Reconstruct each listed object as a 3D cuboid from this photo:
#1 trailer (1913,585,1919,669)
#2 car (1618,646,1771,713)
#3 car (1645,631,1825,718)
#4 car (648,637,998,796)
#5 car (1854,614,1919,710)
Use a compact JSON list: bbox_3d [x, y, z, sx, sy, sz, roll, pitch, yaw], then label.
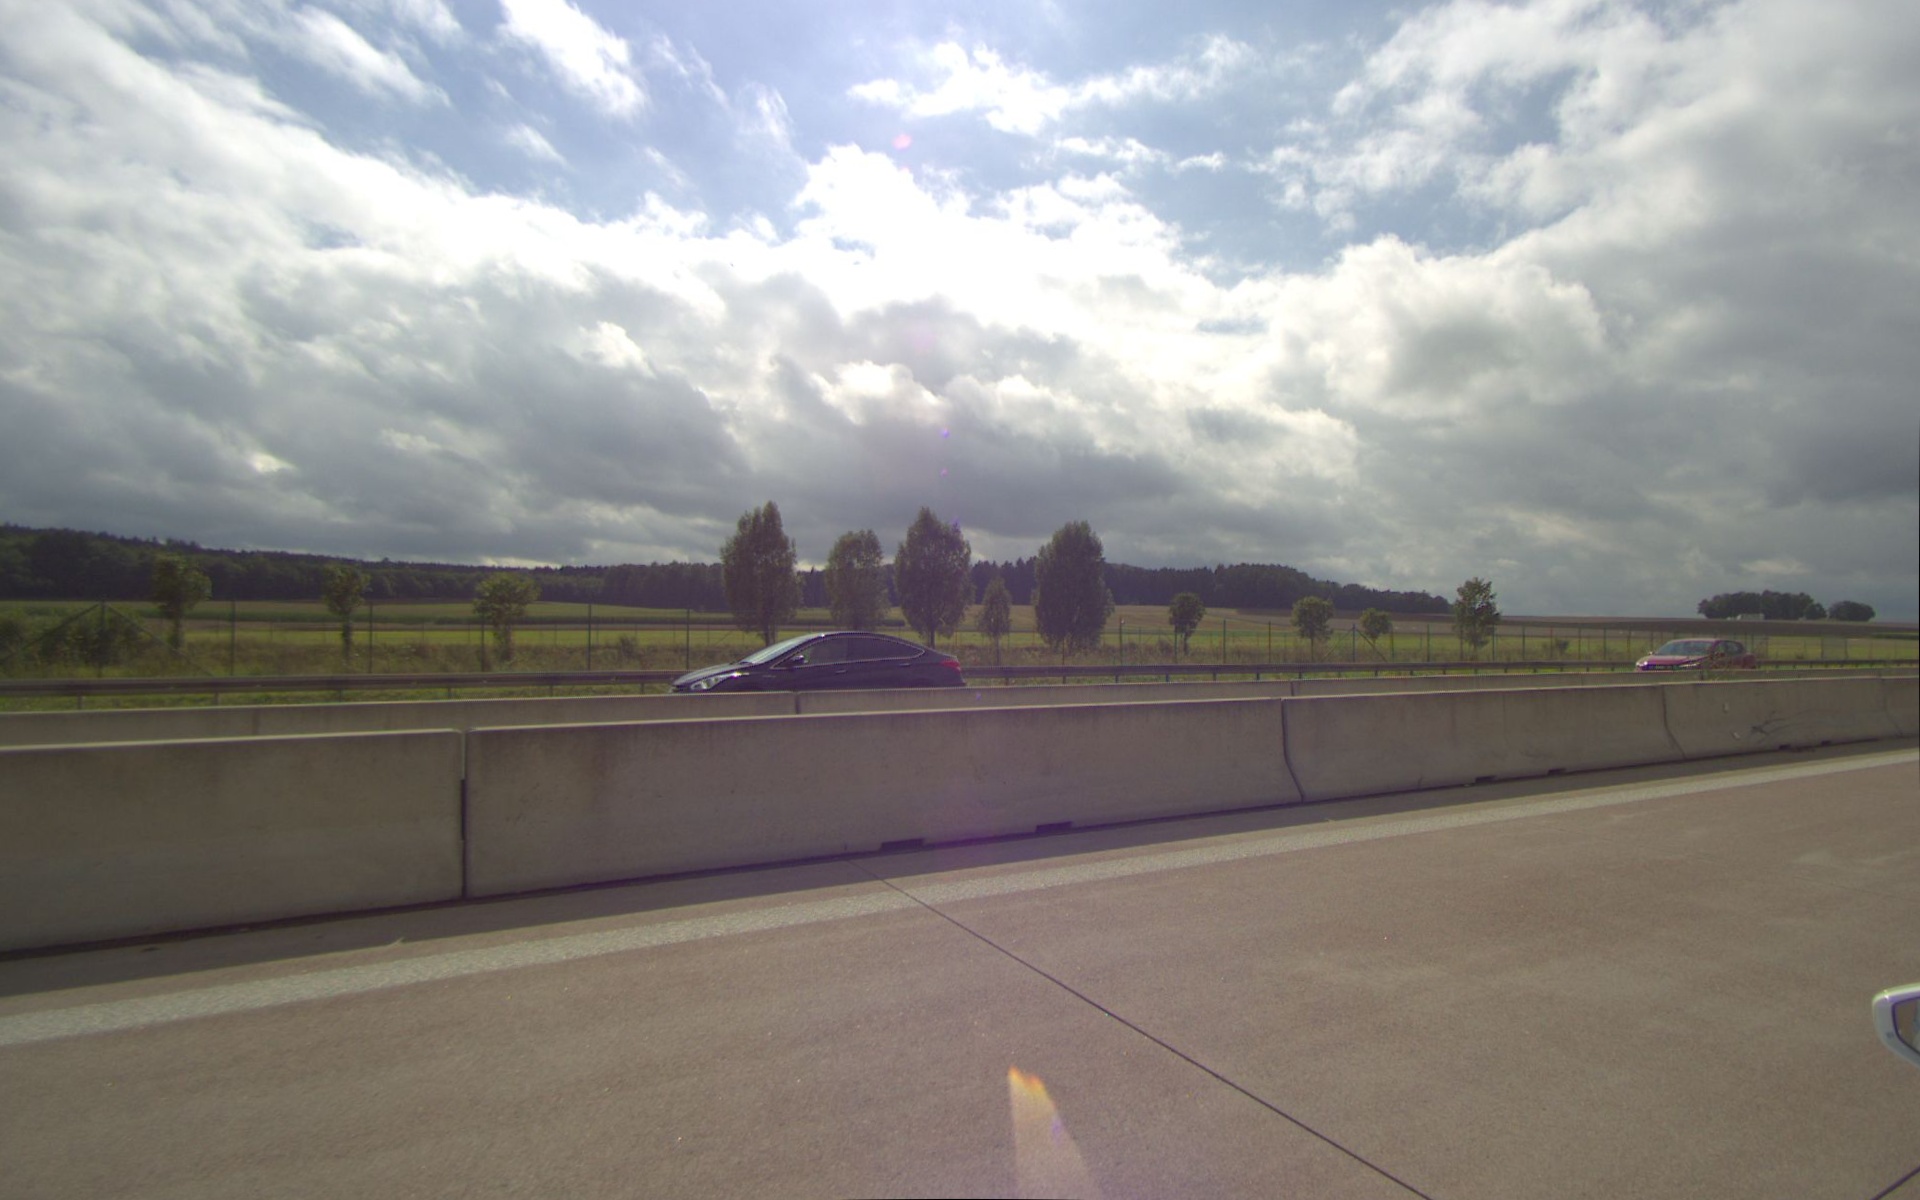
[{"bbox_3d":[53.261,1.487,52.544,6.925,4.305,2.993,1,0,-30],"label":"trailer"},{"bbox_3d":[21.172,2.217,28.917,4.439,1.684,1.963,1,0,-31],"label":"car"},{"bbox_3d":[11.789,1.084,15.255,2.725,1.167,1.217,1,0,-30],"label":"car"},{"bbox_3d":[-2.055,1.671,15.588,4.993,2.040,1.976,2,0,-30],"label":"car"},{"bbox_3d":[18.989,1.154,18.966,4.381,1.684,1.875,1,0,-30],"label":"car"}]
